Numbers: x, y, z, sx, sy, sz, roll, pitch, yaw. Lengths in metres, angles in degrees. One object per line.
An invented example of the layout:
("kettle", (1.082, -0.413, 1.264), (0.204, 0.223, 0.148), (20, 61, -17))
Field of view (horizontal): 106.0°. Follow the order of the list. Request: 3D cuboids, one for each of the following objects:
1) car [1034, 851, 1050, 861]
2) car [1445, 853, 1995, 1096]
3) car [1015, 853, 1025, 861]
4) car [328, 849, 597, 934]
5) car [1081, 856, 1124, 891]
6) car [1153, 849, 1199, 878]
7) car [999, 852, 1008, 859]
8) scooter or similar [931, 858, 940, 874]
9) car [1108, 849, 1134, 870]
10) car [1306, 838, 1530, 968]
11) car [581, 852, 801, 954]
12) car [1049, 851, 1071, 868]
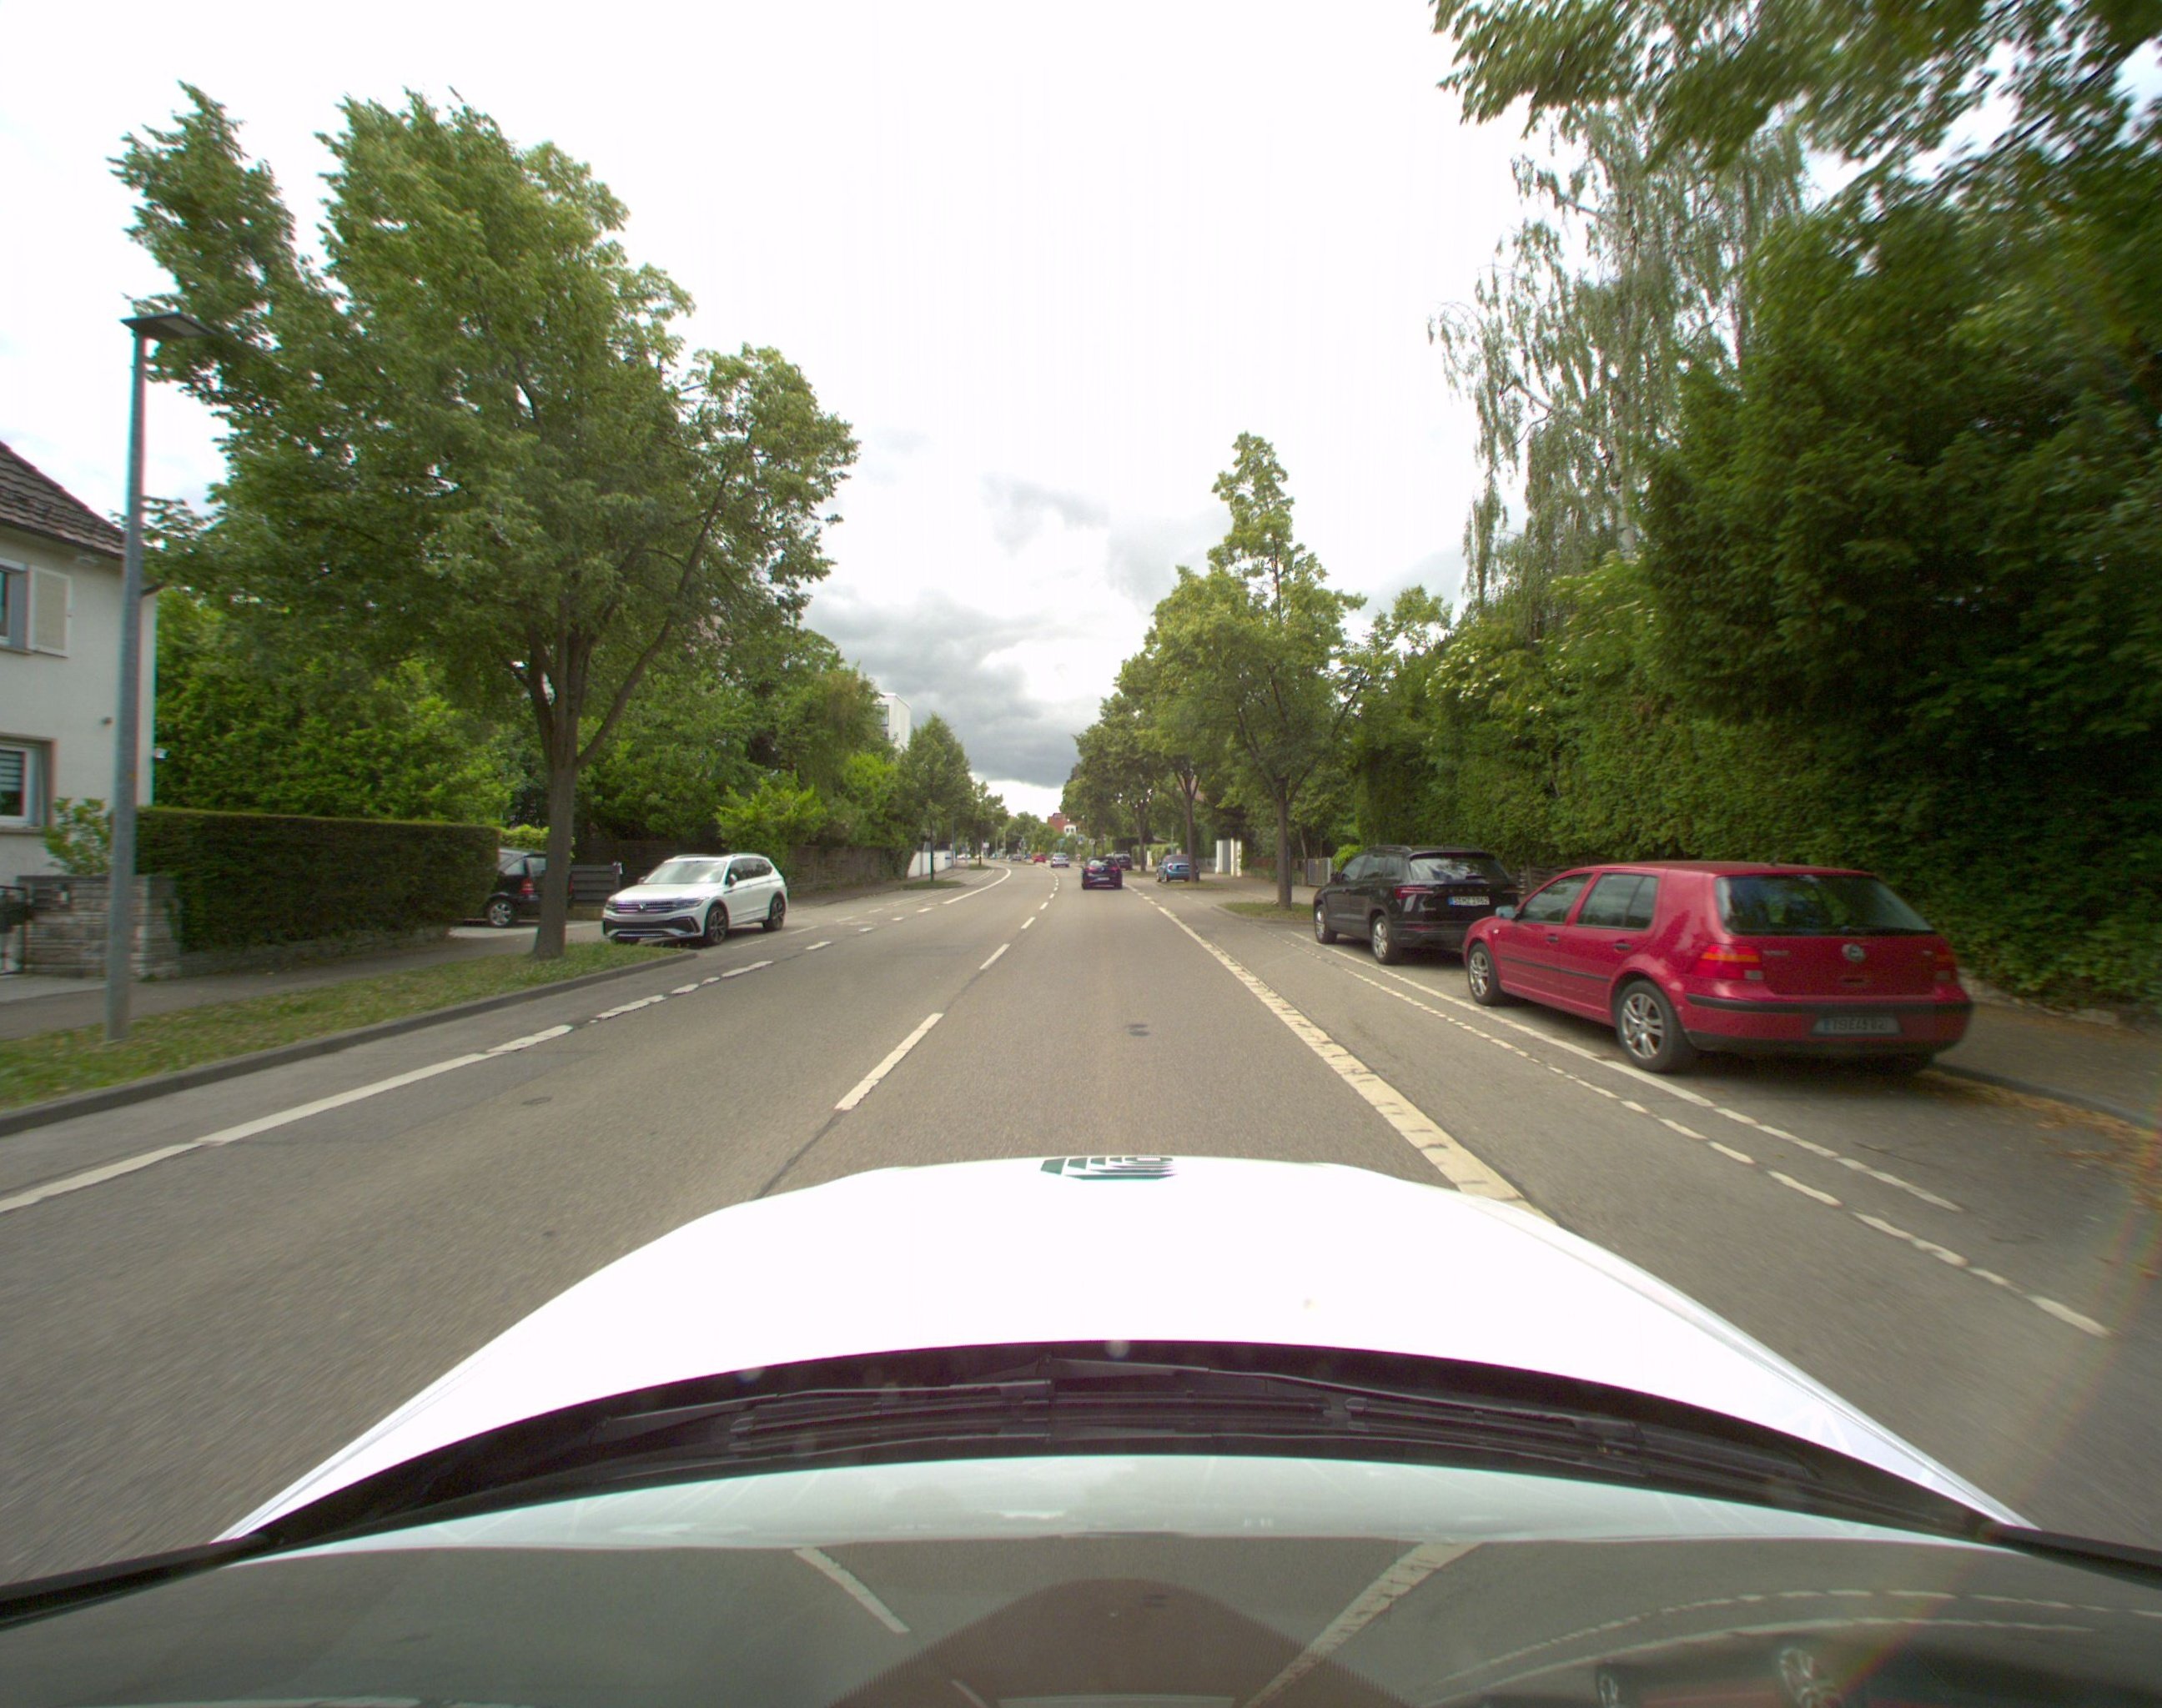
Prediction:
("car", (-5.724, 0.279, 119.860), (1.992, 1.530, 3.990), (-1, 0, -7))
("car", (4.677, 0.721, 6.837), (1.631, 1.420, 4.004), (-1, 0, 3))
("car", (-11.624, 0.528, 155.360), (1.989, 1.508, 3.995), (0, -1, -3))
("car", (-12.603, 0.729, 16.778), (4.182, 1.585, 1.765), (-1, 0, 1))
("car", (0.925, 0.817, 36.124), (1.778, 1.449, 3.557), (-1, 0, -1))
("car", (4.827, 0.462, 41.862), (1.679, 1.432, 4.039), (-1, 0, -3))
("car", (-20.354, 0.355, 214.538), (1.968, 1.675, 3.874), (0, 0, -2))
("scooter or similar", (-10.529, 0.851, 58.830), (0.500, 1.154, 1.299), (-1, 0, -4))
("car", (3.371, 0.467, 69.496), (1.785, 1.772, 3.977), (-1, 0, -3))
("car", (4.810, 0.613, 12.315), (1.633, 1.615, 4.168), (0, 0, -1))
("car", (-7.397, 0.818, 16.125), (1.867, 1.688, 4.867), (-1, 0, 2))
("car", (-2.210, 0.545, 84.468), (1.991, 1.557, 3.992), (-2, 1, -6))
